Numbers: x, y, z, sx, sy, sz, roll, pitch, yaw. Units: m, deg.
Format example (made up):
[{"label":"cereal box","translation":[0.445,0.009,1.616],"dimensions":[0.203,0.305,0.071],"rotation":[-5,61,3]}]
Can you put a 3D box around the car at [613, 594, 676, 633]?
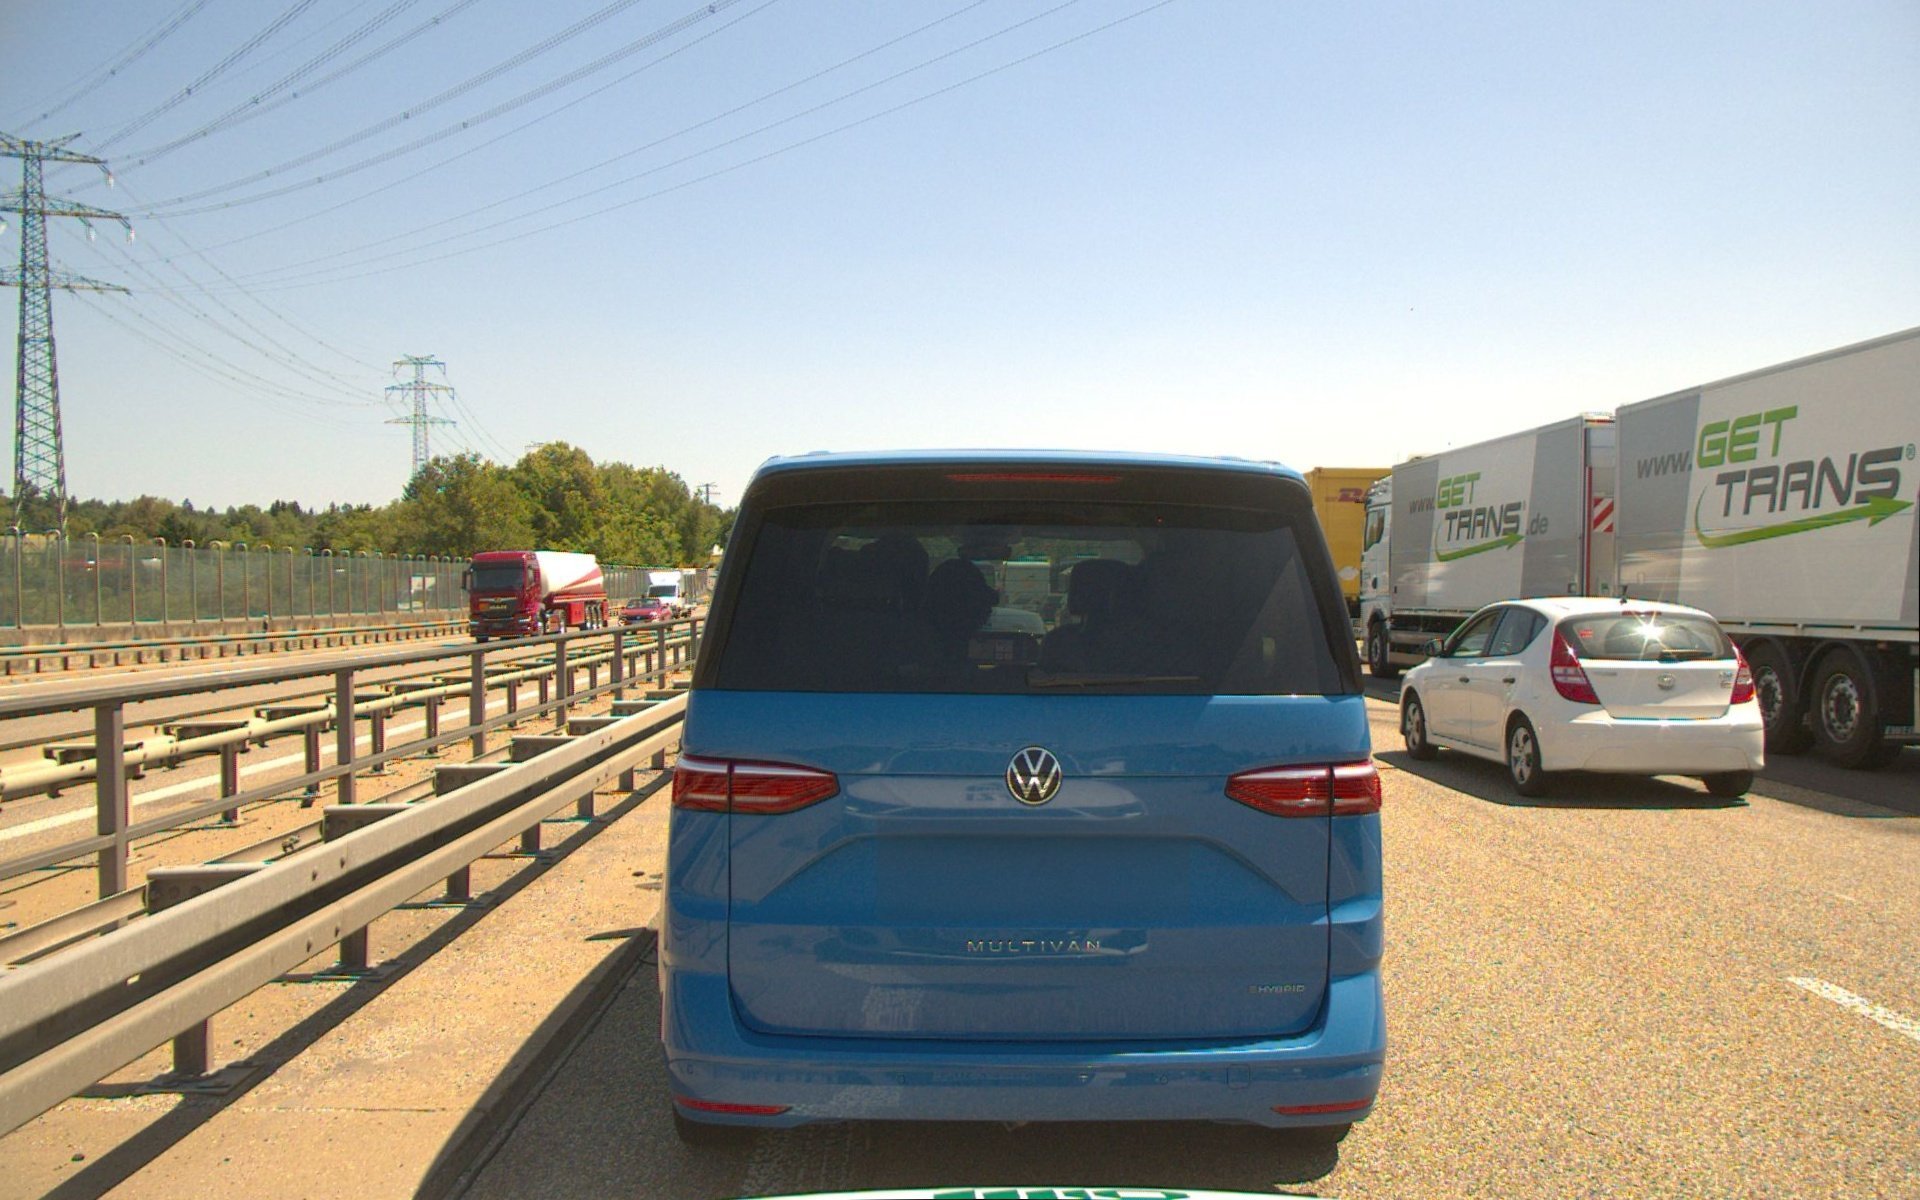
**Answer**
[{"label":"car","translation":[-13.007,0.531,68.367],"dimensions":[1.826,1.469,4.130],"rotation":[-3,0,-1]}]

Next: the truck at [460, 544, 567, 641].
[{"label":"truck","translation":[-16.883,-0.277,62.933],"dimensions":[2.447,3.424,5.833],"rotation":[-2,0,-1]}]

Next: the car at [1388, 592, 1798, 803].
[{"label":"car","translation":[5.046,0.680,13.880],"dimensions":[1.752,1.481,4.292],"rotation":[0,0,-1]}]

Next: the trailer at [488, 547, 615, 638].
[{"label":"trailer","translation":[-17.022,-0.314,69.809],"dimensions":[2.430,3.402,12.070],"rotation":[-2,0,-1]}]

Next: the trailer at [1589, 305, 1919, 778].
[{"label":"trailer","translation":[8.901,-0.484,15.726],"dimensions":[2.643,3.765,8.013],"rotation":[0,0,-1]}]

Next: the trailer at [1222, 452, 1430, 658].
[{"label":"trailer","translation":[8.448,-0.947,39.432],"dimensions":[2.806,4.313,9.009],"rotation":[1,0,-1]}]

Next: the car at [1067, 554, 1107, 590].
[{"label":"car","translation":[7.476,-1.623,97.786],"dimensions":[1.953,2.049,4.460],"rotation":[-1,0,-1]}]

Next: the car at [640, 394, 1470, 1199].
[{"label":"car","translation":[0.188,0.509,5.632],"dimensions":[1.783,1.890,4.074],"rotation":[1,0,-1]}]

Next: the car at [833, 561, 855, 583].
[{"label":"car","translation":[-11.301,-2.754,161.303],"dimensions":[1.953,2.049,4.311],"rotation":[1,0,-1]}]

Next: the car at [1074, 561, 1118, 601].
[{"label":"car","translation":[7.148,-0.980,87.212],"dimensions":[1.953,2.049,3.999],"rotation":[1,0,-1]}]

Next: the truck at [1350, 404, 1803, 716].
[{"label":"truck","translation":[8.662,-0.516,25.240],"dimensions":[2.603,3.711,11.008],"rotation":[0,0,-1]}]

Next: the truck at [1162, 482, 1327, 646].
[{"label":"truck","translation":[8.234,-0.964,49.460],"dimensions":[2.778,4.317,11.008],"rotation":[1,0,-1]}]

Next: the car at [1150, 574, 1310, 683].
[{"label":"car","translation":[4.410,0.428,27.623],"dimensions":[1.922,1.673,4.292],"rotation":[0,0,-1]}]

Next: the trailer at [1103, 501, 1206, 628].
[{"label":"trailer","translation":[7.605,-1.328,66.224],"dimensions":[2.583,4.595,11.299],"rotation":[1,0,-1]}]

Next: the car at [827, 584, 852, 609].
[{"label":"car","translation":[-10.469,-0.293,143.786],"dimensions":[1.862,2.049,3.999],"rotation":[1,0,-1]}]

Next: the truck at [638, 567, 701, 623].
[{"label":"truck","translation":[-17.942,-0.301,102.615],"dimensions":[2.468,3.164,8.720],"rotation":[-3,0,-2]}]

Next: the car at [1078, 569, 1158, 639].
[{"label":"car","translation":[4.695,0.107,49.721],"dimensions":[1.922,2.028,4.292],"rotation":[0,0,-1]}]

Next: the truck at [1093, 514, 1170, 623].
[{"label":"truck","translation":[7.539,-1.344,73.551],"dimensions":[2.613,4.562,6.848],"rotation":[1,0,-1]}]

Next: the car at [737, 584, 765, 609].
[{"label":"car","translation":[-19.565,-0.348,154.662],"dimensions":[2.040,2.187,4.311],"rotation":[-2,1,-1]}]

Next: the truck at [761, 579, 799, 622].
[{"label":"truck","translation":[-15.271,0.026,140.993],"dimensions":[2.510,3.418,8.860],"rotation":[-2,0,-2]}]
